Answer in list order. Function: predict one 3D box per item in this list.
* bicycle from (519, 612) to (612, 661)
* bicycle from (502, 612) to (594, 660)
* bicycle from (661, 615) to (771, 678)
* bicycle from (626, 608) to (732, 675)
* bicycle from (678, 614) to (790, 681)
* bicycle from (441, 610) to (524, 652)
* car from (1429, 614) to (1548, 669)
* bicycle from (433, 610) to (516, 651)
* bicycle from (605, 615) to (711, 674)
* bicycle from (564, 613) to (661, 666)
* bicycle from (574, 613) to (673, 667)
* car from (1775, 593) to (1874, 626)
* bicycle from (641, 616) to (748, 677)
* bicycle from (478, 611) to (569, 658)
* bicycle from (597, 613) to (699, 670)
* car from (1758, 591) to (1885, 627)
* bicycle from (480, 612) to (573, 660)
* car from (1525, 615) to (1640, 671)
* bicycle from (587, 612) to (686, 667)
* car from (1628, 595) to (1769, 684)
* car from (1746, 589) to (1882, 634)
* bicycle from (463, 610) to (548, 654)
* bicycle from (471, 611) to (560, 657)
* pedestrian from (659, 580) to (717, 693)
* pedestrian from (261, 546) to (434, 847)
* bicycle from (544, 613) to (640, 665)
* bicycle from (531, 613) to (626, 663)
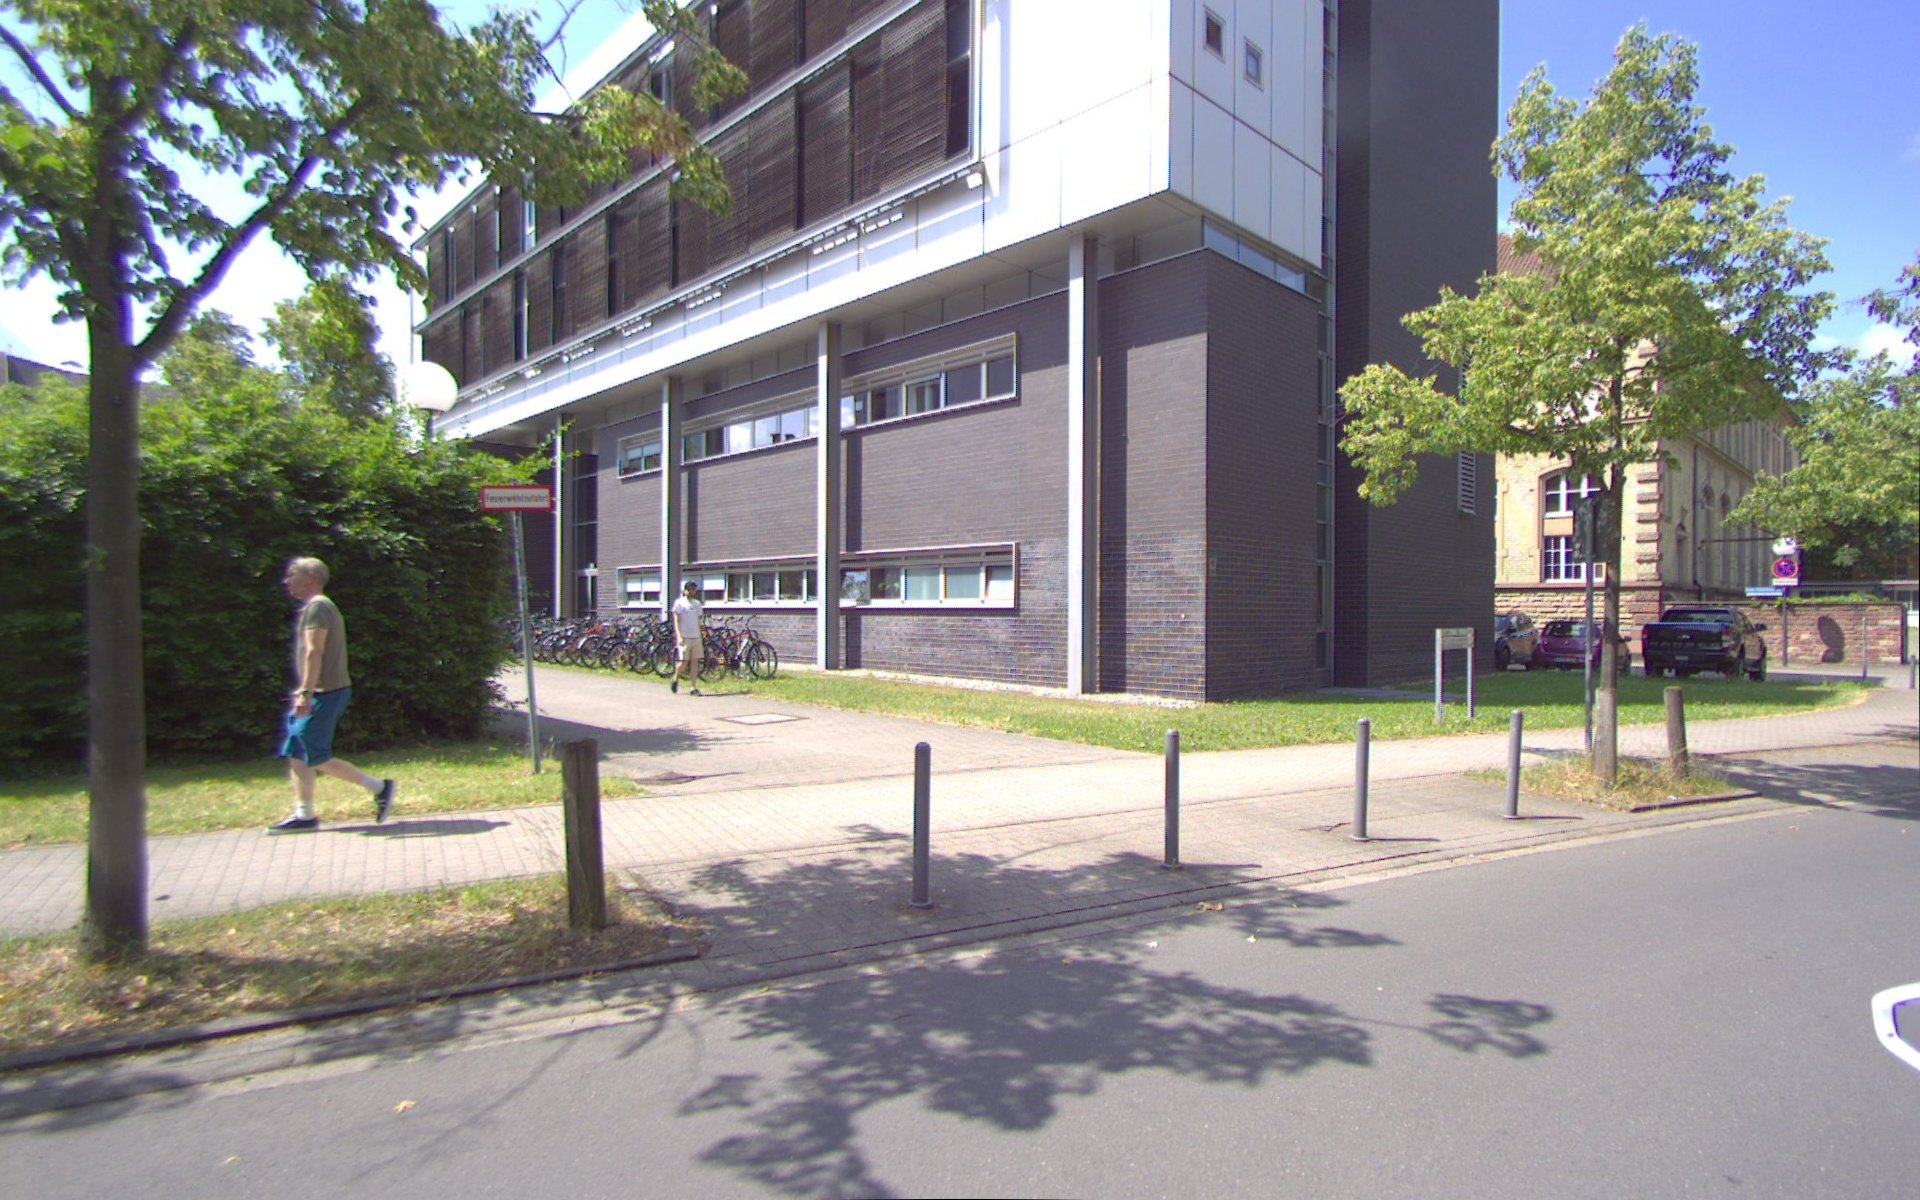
[{"bbox_3d":[-9.520,0.863,24.288,0.574,1.138,2.038,0,-1,44],"label":"bicycle"},{"bbox_3d":[-10.070,0.862,24.610,0.574,1.138,2.038,0,-1,44],"label":"bicycle"},{"bbox_3d":[-4.589,0.853,19.001,0.574,1.138,2.038,0,-1,44],"label":"bicycle"},{"bbox_3d":[-5.577,0.805,20.047,0.574,1.259,2.038,0,-1,44],"label":"bicycle"},{"bbox_3d":[-4.118,0.845,18.456,0.574,1.177,2.038,0,-1,44],"label":"bicycle"},{"bbox_3d":[-13.289,0.857,28.001,0.574,1.138,2.038,0,-1,44],"label":"bicycle"},{"bbox_3d":[14.799,1.100,28.029,1.798,1.341,4.136,3,1,45],"label":"car"},{"bbox_3d":[-13.739,0.851,28.465,0.574,1.138,2.038,0,-1,44],"label":"bicycle"},{"bbox_3d":[-6.104,0.868,20.401,0.574,1.138,2.038,0,-1,44],"label":"bicycle"},{"bbox_3d":[-7.789,0.857,22.579,0.574,1.138,2.038,0,-1,44],"label":"bicycle"},{"bbox_3d":[-7.378,0.855,22.094,0.574,1.138,2.038,0,-1,44],"label":"bicycle"},{"bbox_3d":[44.803,0.464,52.105,3.812,1.643,1.746,0,-1,43],"label":"car"},{"bbox_3d":[-5.145,0.879,19.575,0.574,1.138,2.038,0,-1,44],"label":"bicycle"},{"bbox_3d":[-11.017,0.853,25.396,0.574,1.138,2.038,0,-1,44],"label":"bicycle"},{"bbox_3d":[-6.563,0.857,21.220,0.541,1.138,2.038,0,-1,44],"label":"bicycle"},{"bbox_3d":[38.432,0.404,44.921,4.028,1.537,1.753,0,0,30],"label":"car"},{"bbox_3d":[-10.694,0.870,24.840,0.574,1.138,2.038,0,-1,44],"label":"bicycle"},{"bbox_3d":[16.490,1.092,26.539,1.799,1.341,3.744,0,-1,45],"label":"car"},{"bbox_3d":[-6.949,0.835,21.664,0.495,1.138,2.038,0,-1,44],"label":"bicycle"},{"bbox_3d":[18.176,0.901,24.607,2.152,1.951,5.155,0,-1,44],"label":"car"},{"bbox_3d":[36.483,0.494,43.048,4.096,1.847,1.996,0,0,30],"label":"car"},{"bbox_3d":[-12.238,0.847,27.103,0.574,1.138,2.038,0,-1,44],"label":"bicycle"},{"bbox_3d":[-11.442,0.869,25.915,0.574,1.138,2.038,0,-1,44],"label":"bicycle"},{"bbox_3d":[-4.330,0.569,15.985,0.684,1.743,0.609,1,0,-41],"label":"pedestrian"},{"bbox_3d":[-3.952,0.582,6.484,0.902,1.788,0.580,1,0,-36],"label":"pedestrian"},{"bbox_3d":[-8.439,0.881,23.099,0.574,1.138,2.038,0,-1,44],"label":"bicycle"},{"bbox_3d":[-8.928,0.874,23.584,0.574,1.138,2.038,0,-1,44],"label":"bicycle"}]
